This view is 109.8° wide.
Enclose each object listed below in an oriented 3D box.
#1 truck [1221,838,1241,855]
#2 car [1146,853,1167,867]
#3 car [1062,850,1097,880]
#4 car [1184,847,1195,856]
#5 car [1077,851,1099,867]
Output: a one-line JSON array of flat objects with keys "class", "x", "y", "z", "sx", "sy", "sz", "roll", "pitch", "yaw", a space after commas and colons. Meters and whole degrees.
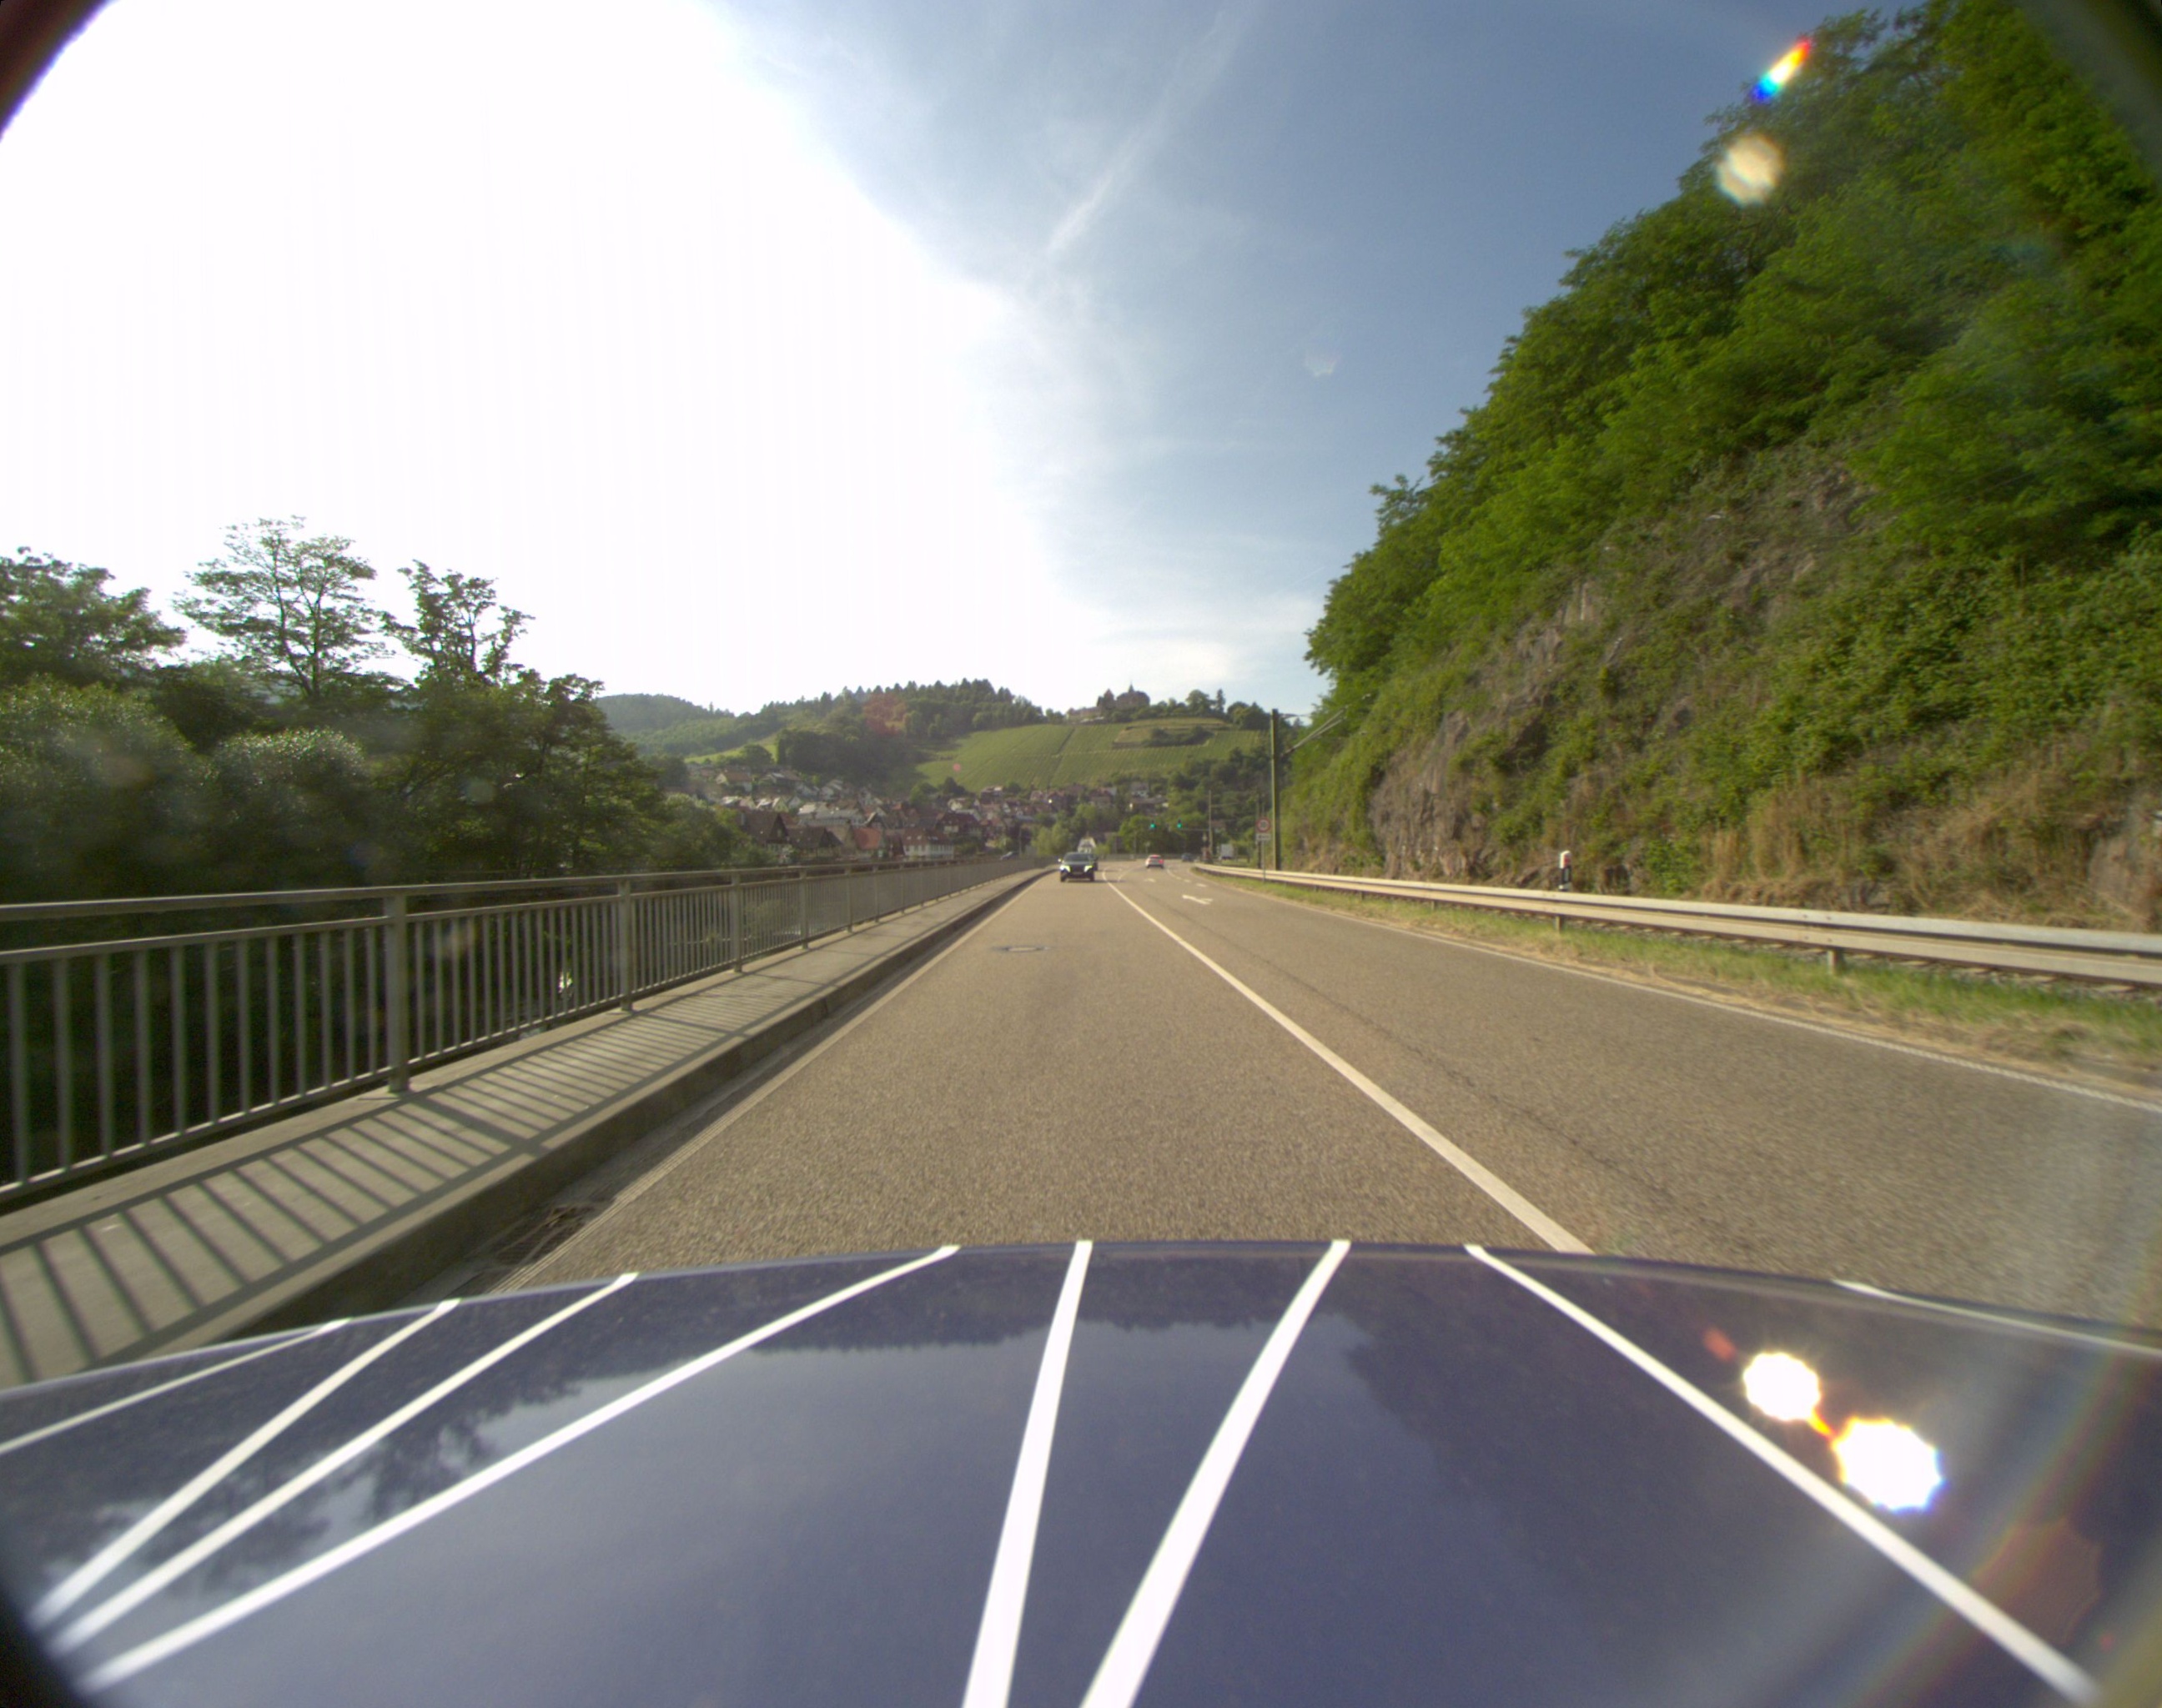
[{"class": "truck", "x": 35.176, "y": -1.684, "z": 177.767, "sx": 2.899, "sy": 3.776, "sz": 8.909, "roll": 1, "pitch": 0, "yaw": 23}, {"class": "car", "x": 8.387, "y": 0.670, "z": 84.719, "sx": 2.068, "sy": 1.431, "sz": 4.687, "roll": 1, "pitch": 0, "yaw": 4}, {"class": "car", "x": -0.123, "y": 0.574, "z": 42.716, "sx": 1.863, "sy": 1.576, "sz": 3.999, "roll": 0, "pitch": 0, "yaw": -1}, {"class": "car", "x": 19.707, "y": -0.469, "z": 138.023, "sx": 1.721, "sy": 1.561, "sz": 4.137, "roll": -2, "pitch": 1, "yaw": 9}, {"class": "car", "x": 0.707, "y": 0.460, "z": 71.863, "sx": 1.998, "sy": 1.384, "sz": 4.000, "roll": 1, "pitch": 0, "yaw": 1}]
